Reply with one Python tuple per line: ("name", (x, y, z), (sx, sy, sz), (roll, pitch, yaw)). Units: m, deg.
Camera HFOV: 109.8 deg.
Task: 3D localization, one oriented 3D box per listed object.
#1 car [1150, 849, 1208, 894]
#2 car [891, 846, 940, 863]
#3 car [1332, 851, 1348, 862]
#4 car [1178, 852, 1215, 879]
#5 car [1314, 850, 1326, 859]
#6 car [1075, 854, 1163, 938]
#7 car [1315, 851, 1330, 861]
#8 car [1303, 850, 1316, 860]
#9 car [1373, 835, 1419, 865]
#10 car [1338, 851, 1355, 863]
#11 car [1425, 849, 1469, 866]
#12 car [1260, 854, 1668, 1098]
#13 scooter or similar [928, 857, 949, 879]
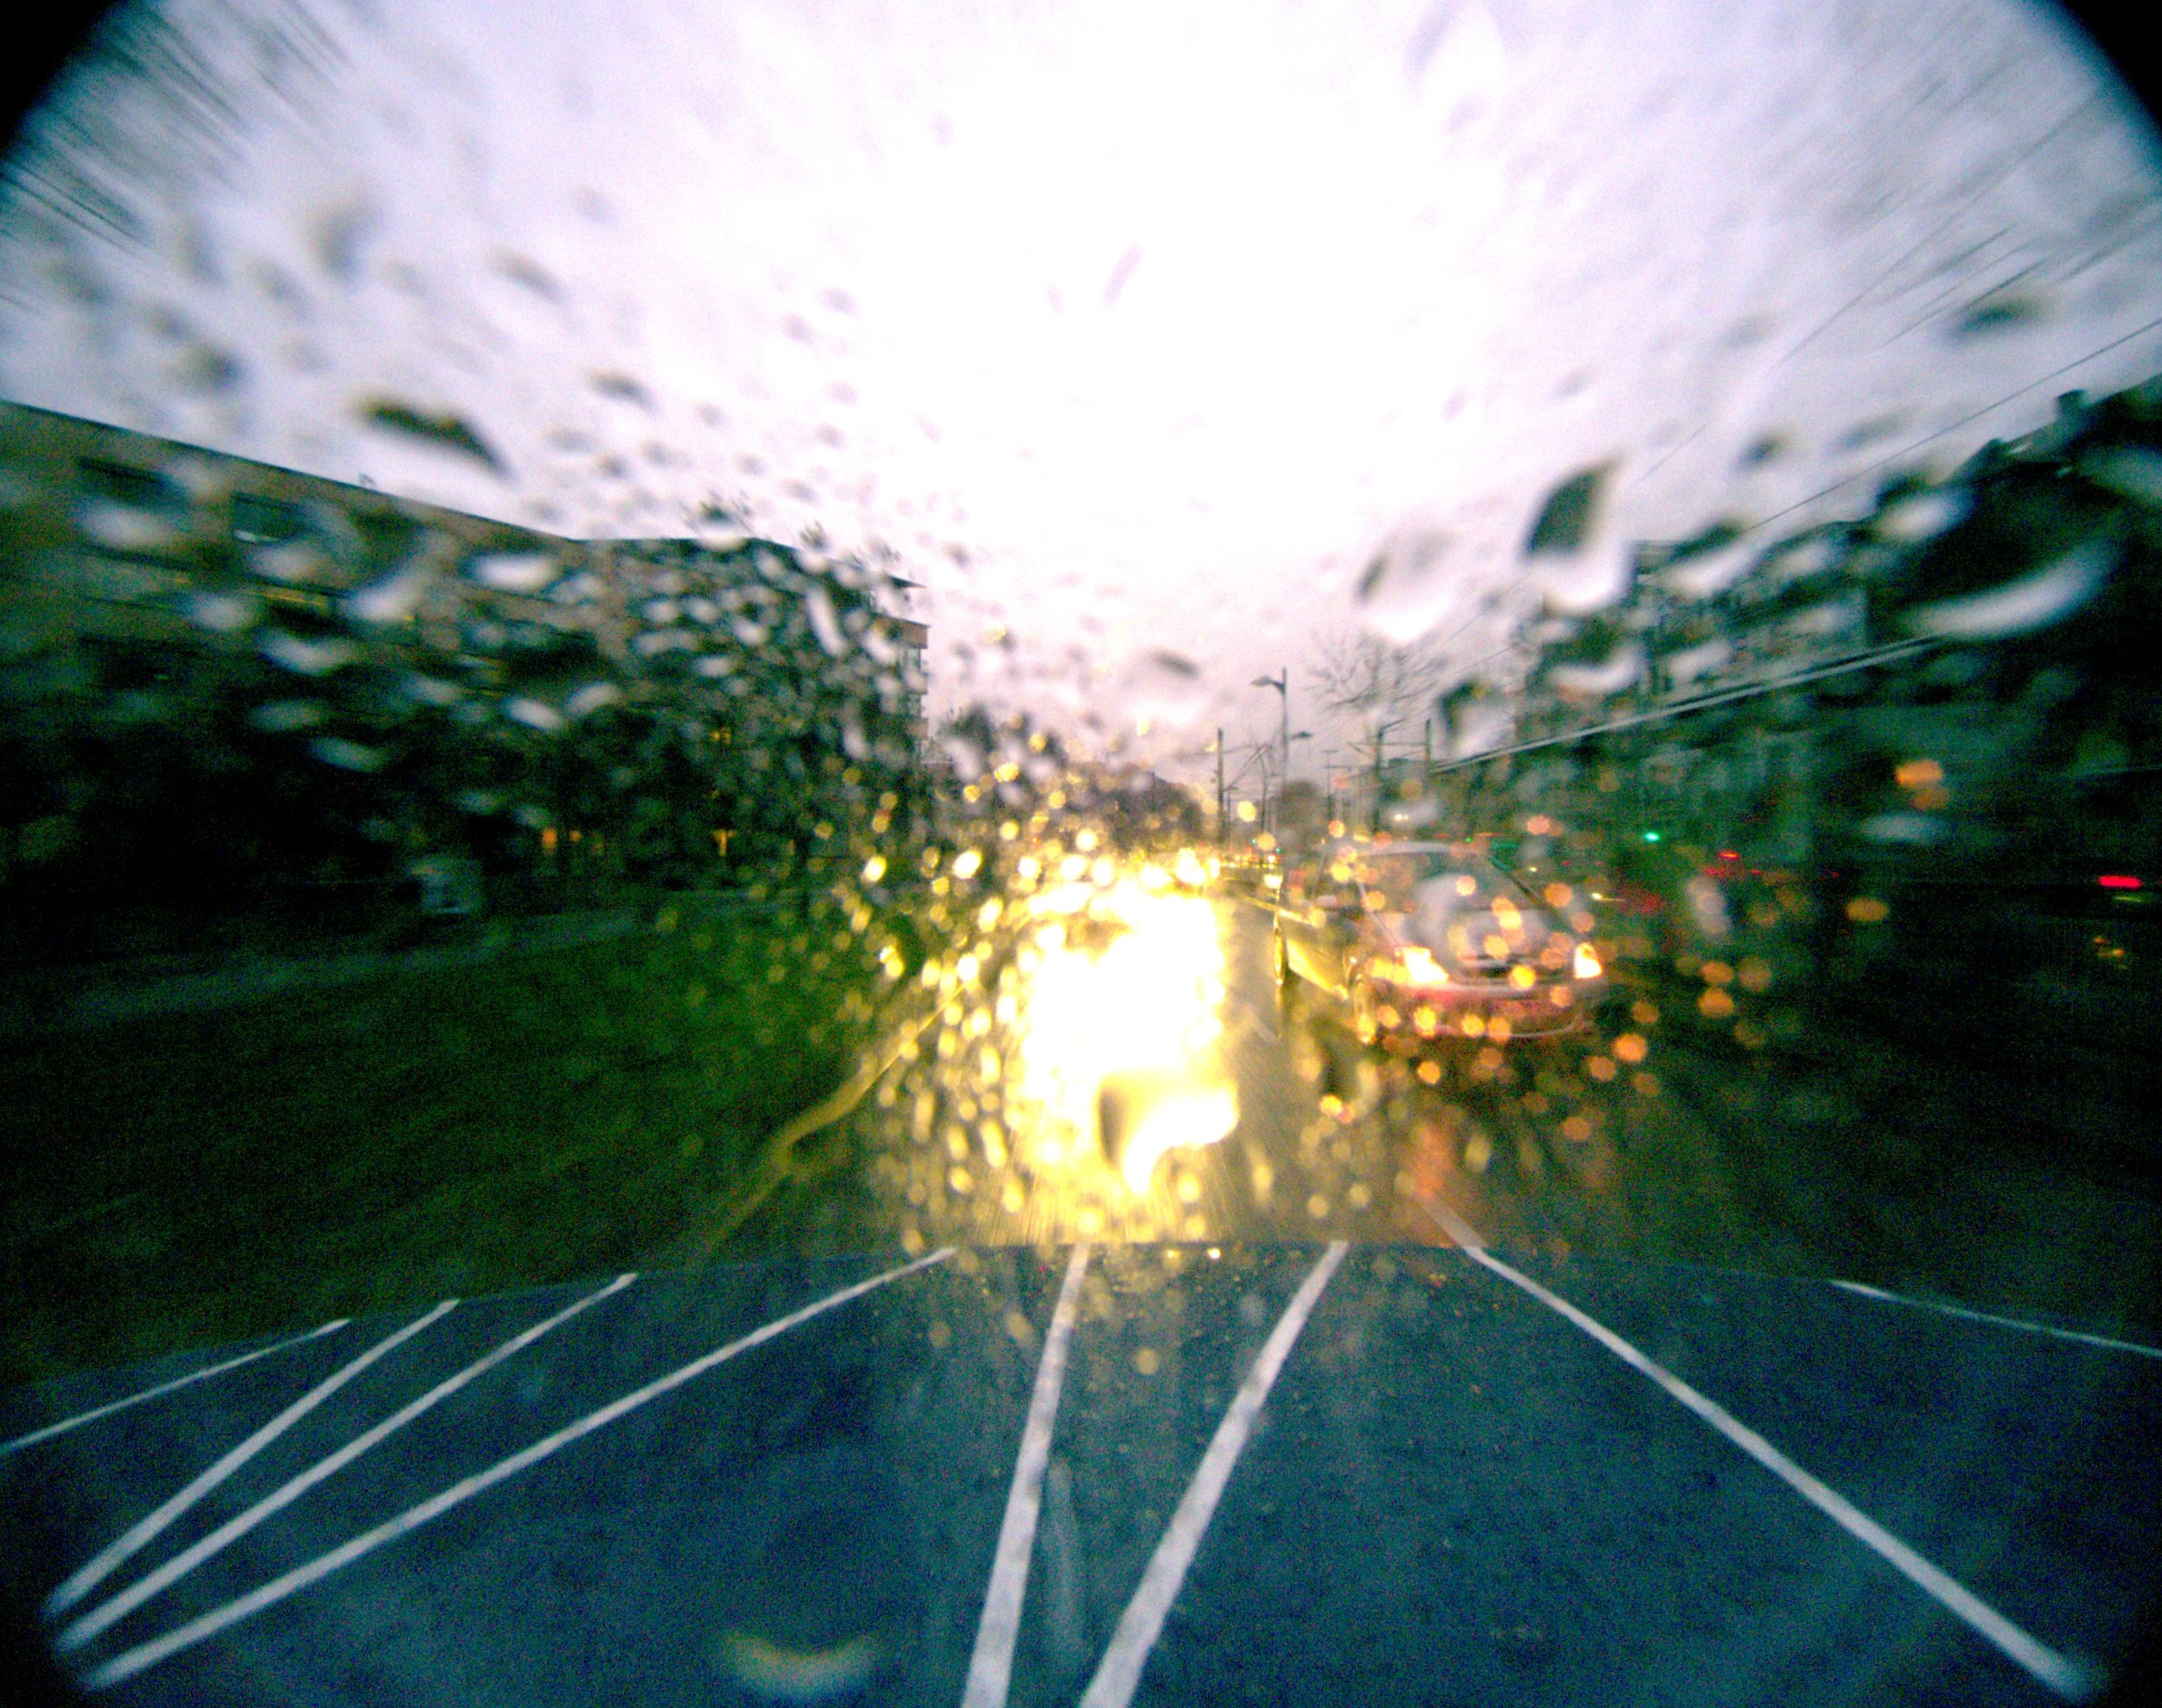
("car", (3.502, 0.602, 27.822), (1.752, 1.535, 4.001), (0, 0, 3))
("car", (-16.609, 0.053, 76.260), (4.510, 1.660, 1.999), (0, 0, -3))
("car", (40.190, 0.354, 117.875), (1.996, 1.635, 4.005), (1, 0, 15))
("car", (7.877, 0.731, 51.430), (1.817, 1.732, 4.192), (1, 0, 18))
("car", (45.638, 0.057, 145.406), (1.996, 1.635, 4.005), (1, 0, 15))
("car", (0.769, 0.806, 16.460), (1.649, 1.575, 3.804), (-1, 0, 1))
("car", (40.477, 0.297, 127.596), (1.996, 1.635, 4.004), (1, 0, 13))
("car", (41.767, 0.198, 138.884), (1.996, 1.635, 4.005), (1, 0, 15))
("car", (25.152, -0.274, 60.827), (1.997, 2.296, 5.269), (0, 0, 6))
("car", (37.670, 0.479, 107.864), (1.923, 1.635, 4.005), (1, 0, 15))
("car", (27.373, 0.274, 56.914), (1.540, 1.219, 4.088), (0, 0, 4))
("car", (2.934, 0.780, 6.908), (1.649, 1.539, 4.109), (-1, 0, 0))
("scooter or similar", (-8.115, 0.812, 43.199), (1.146, 1.224, 0.487), (0, 0, -15))
